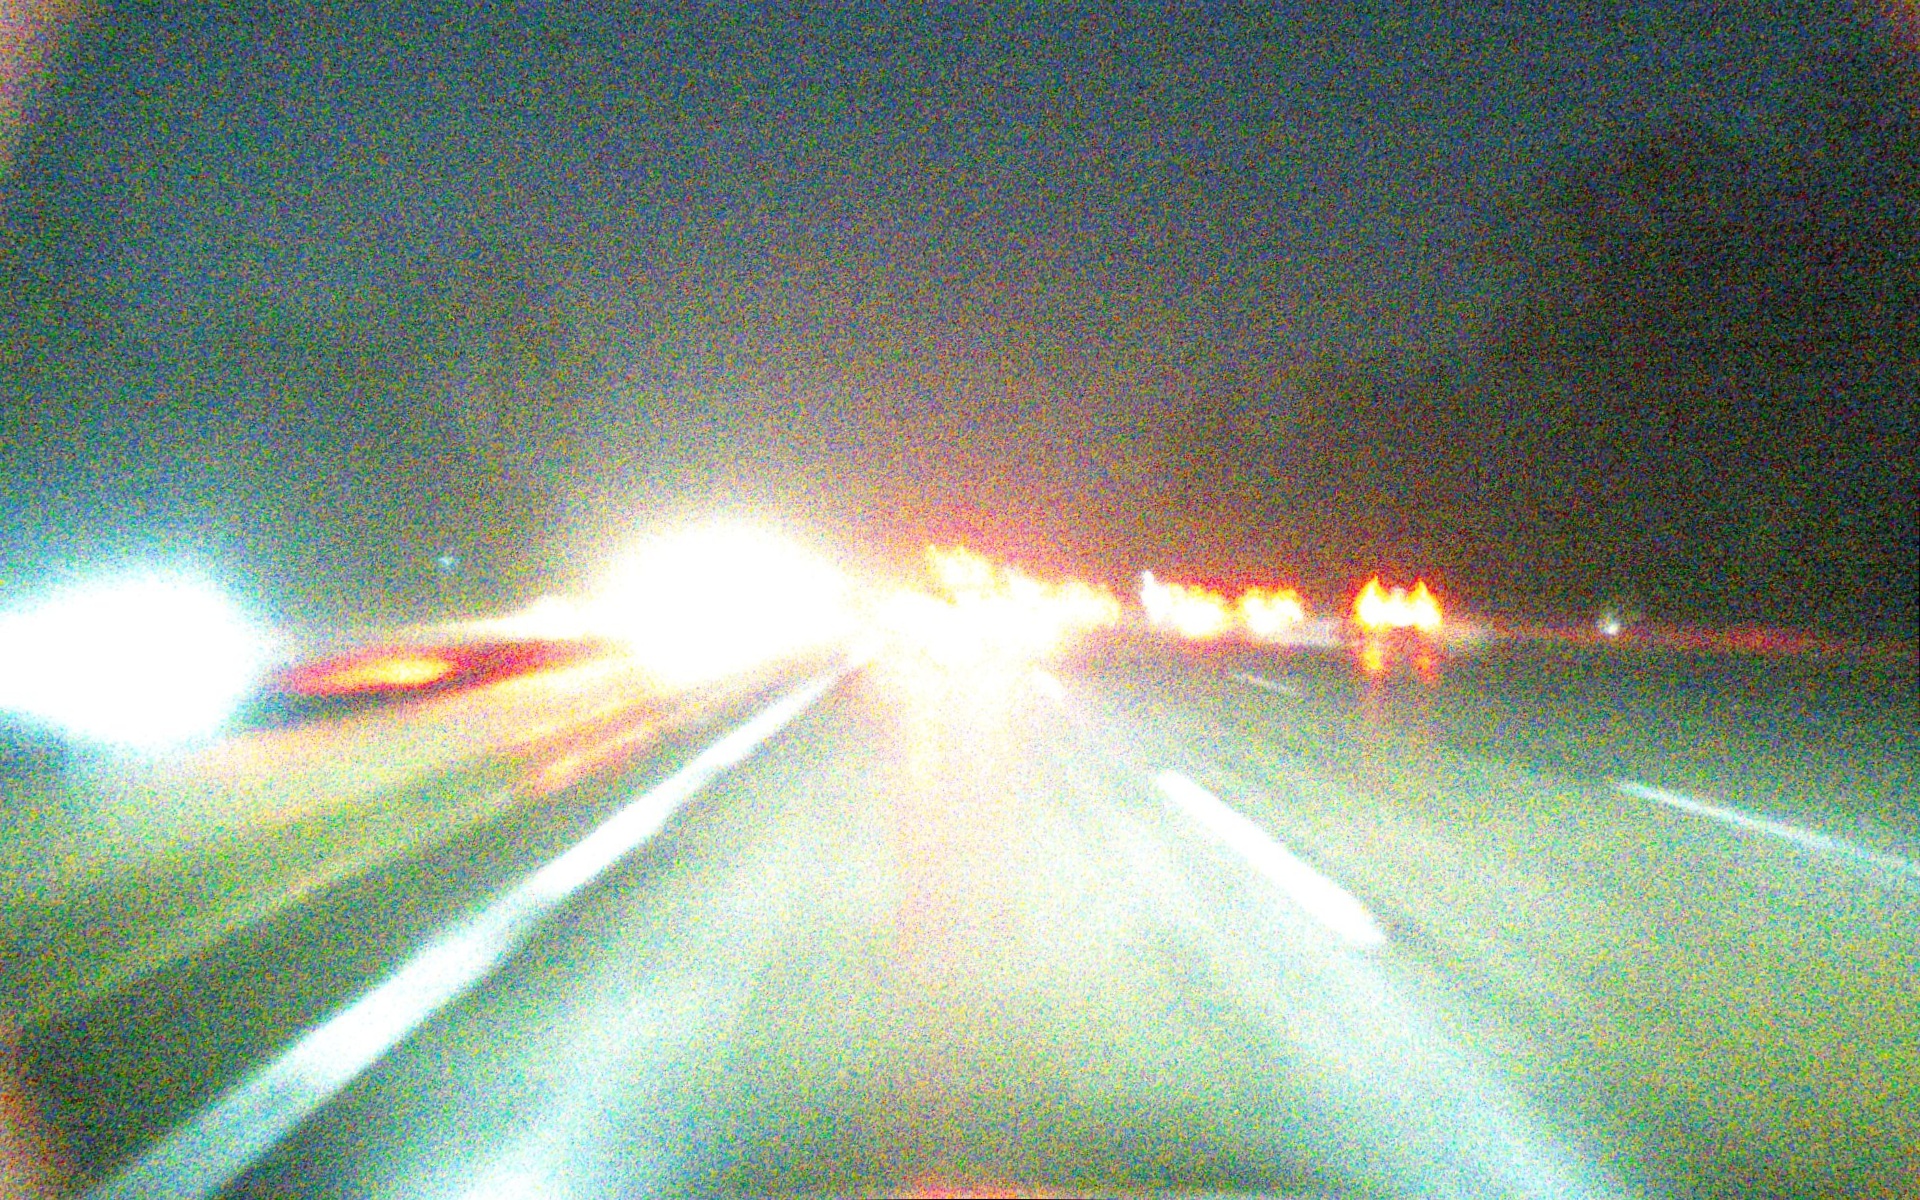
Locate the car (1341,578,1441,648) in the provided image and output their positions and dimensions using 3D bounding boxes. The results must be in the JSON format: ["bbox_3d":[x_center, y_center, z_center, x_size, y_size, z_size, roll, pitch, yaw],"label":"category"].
[{"bbox_3d":[13.375,0.374,51.666,2.019,2.049,5.451,1,0,4],"label":"car"}]

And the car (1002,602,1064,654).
[{"bbox_3d":[2.444,0.938,56.495,1.764,1.645,4.255,-2,0,-2],"label":"car"}]

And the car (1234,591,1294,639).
[{"bbox_3d":[13.520,0.632,73.793,2.185,2.049,4.002,1,0,4],"label":"car"}]

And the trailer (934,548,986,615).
[{"bbox_3d":[-0.112,-1.630,135.746,2.687,4.318,13.365,4,5,-6],"label":"trailer"}]

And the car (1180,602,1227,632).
[{"bbox_3d":[14.220,0.963,96.762,1.953,1.628,3.999,2,0,-2],"label":"car"}]

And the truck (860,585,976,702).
[{"bbox_3d":[-0.783,0.827,34.432,2.101,2.114,6.603,2,0,0],"label":"truck"}]

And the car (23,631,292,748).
[{"bbox_3d":[-12.551,1.336,26.264,1.953,1.552,4.669,2,0,0],"label":"car"}]

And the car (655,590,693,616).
[{"bbox_3d":[-20.235,0.229,117.144,1.953,1.750,4.287,2,0,-1],"label":"car"}]
